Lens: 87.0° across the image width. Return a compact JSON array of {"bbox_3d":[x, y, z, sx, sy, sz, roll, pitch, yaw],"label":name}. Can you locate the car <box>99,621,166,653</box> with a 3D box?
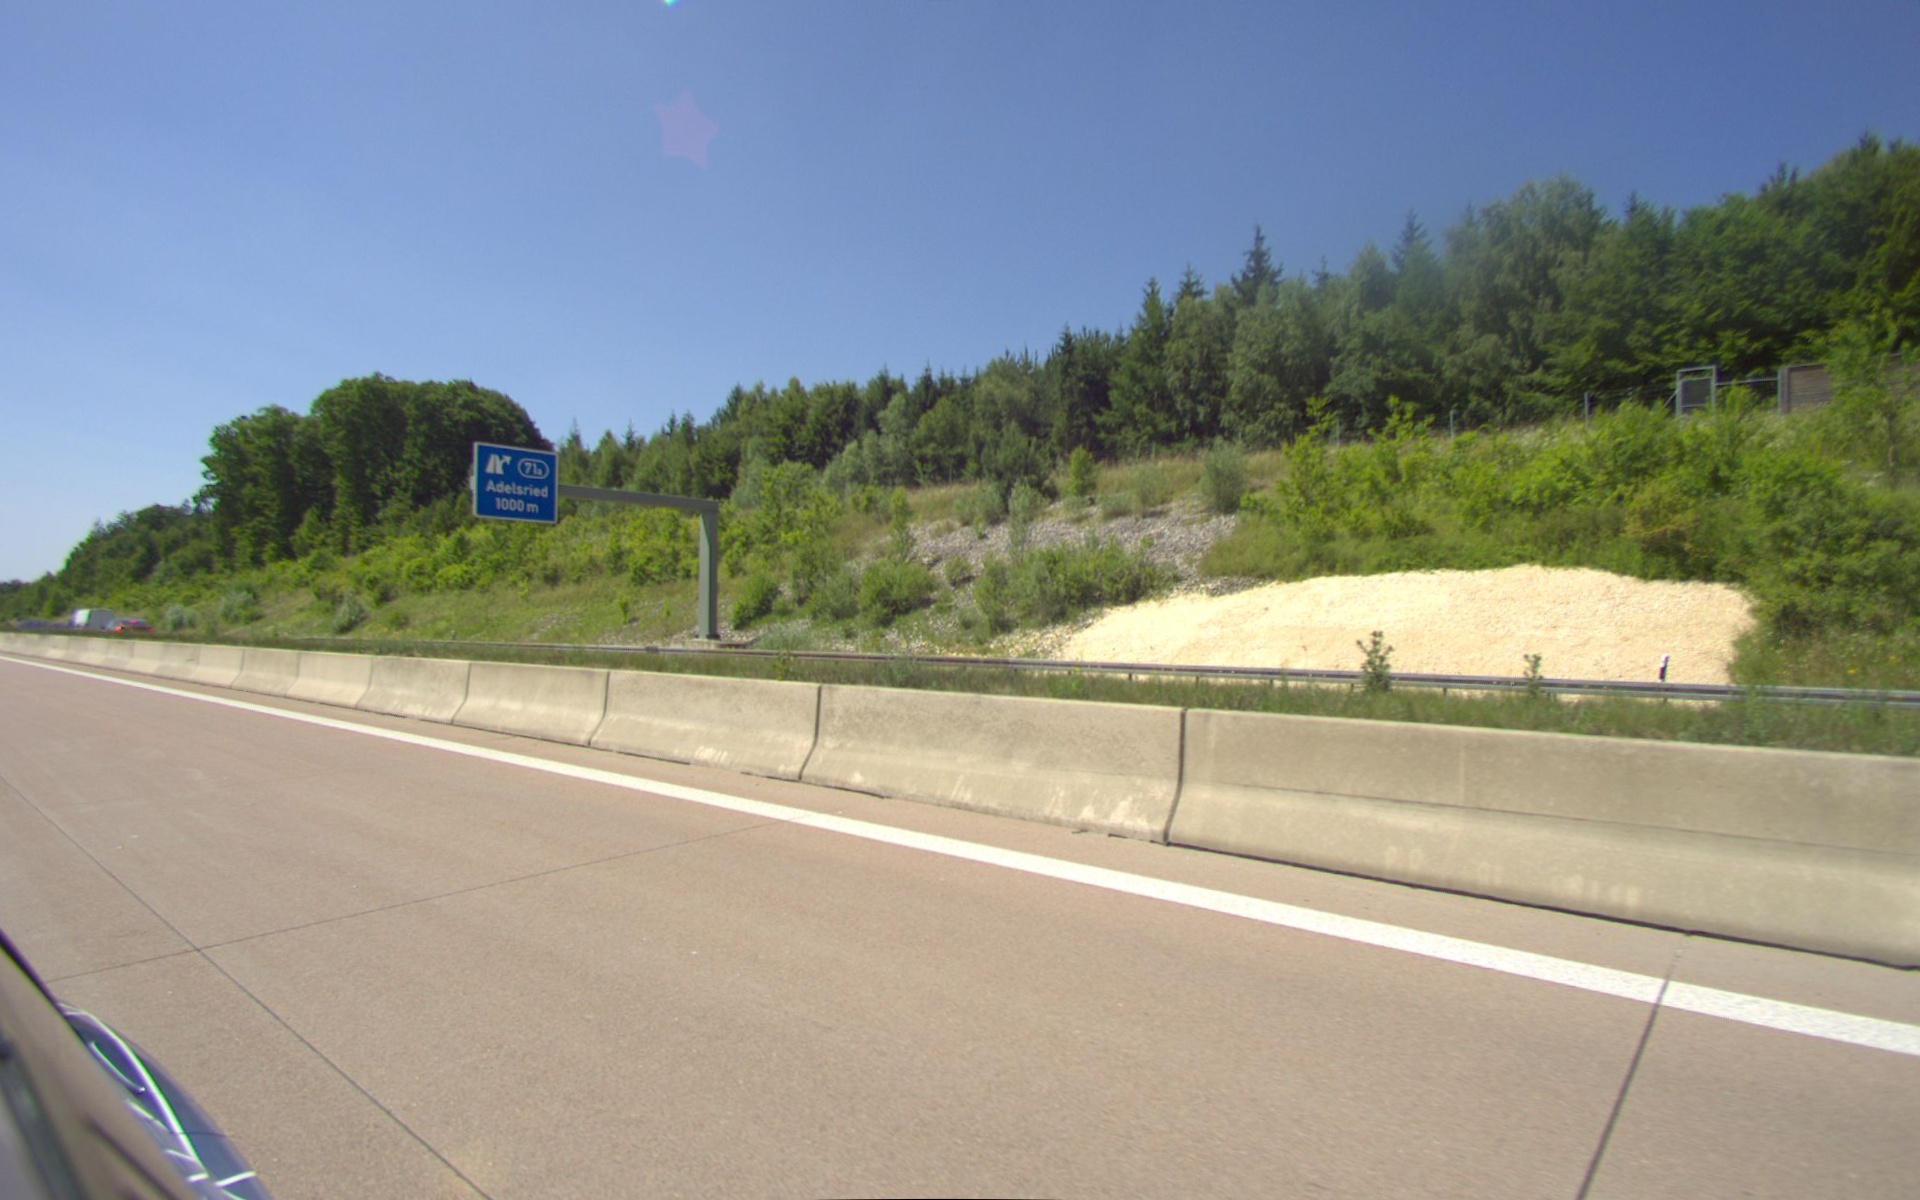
[{"bbox_3d":[-44.694,2.020,54.627,4.973,1.606,1.872,-3,-1,40],"label":"car"}]

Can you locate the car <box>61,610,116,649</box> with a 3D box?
[{"bbox_3d":[-70.770,2.435,82.129,7.498,2.992,2.384,-3,-2,41],"label":"car"}]
